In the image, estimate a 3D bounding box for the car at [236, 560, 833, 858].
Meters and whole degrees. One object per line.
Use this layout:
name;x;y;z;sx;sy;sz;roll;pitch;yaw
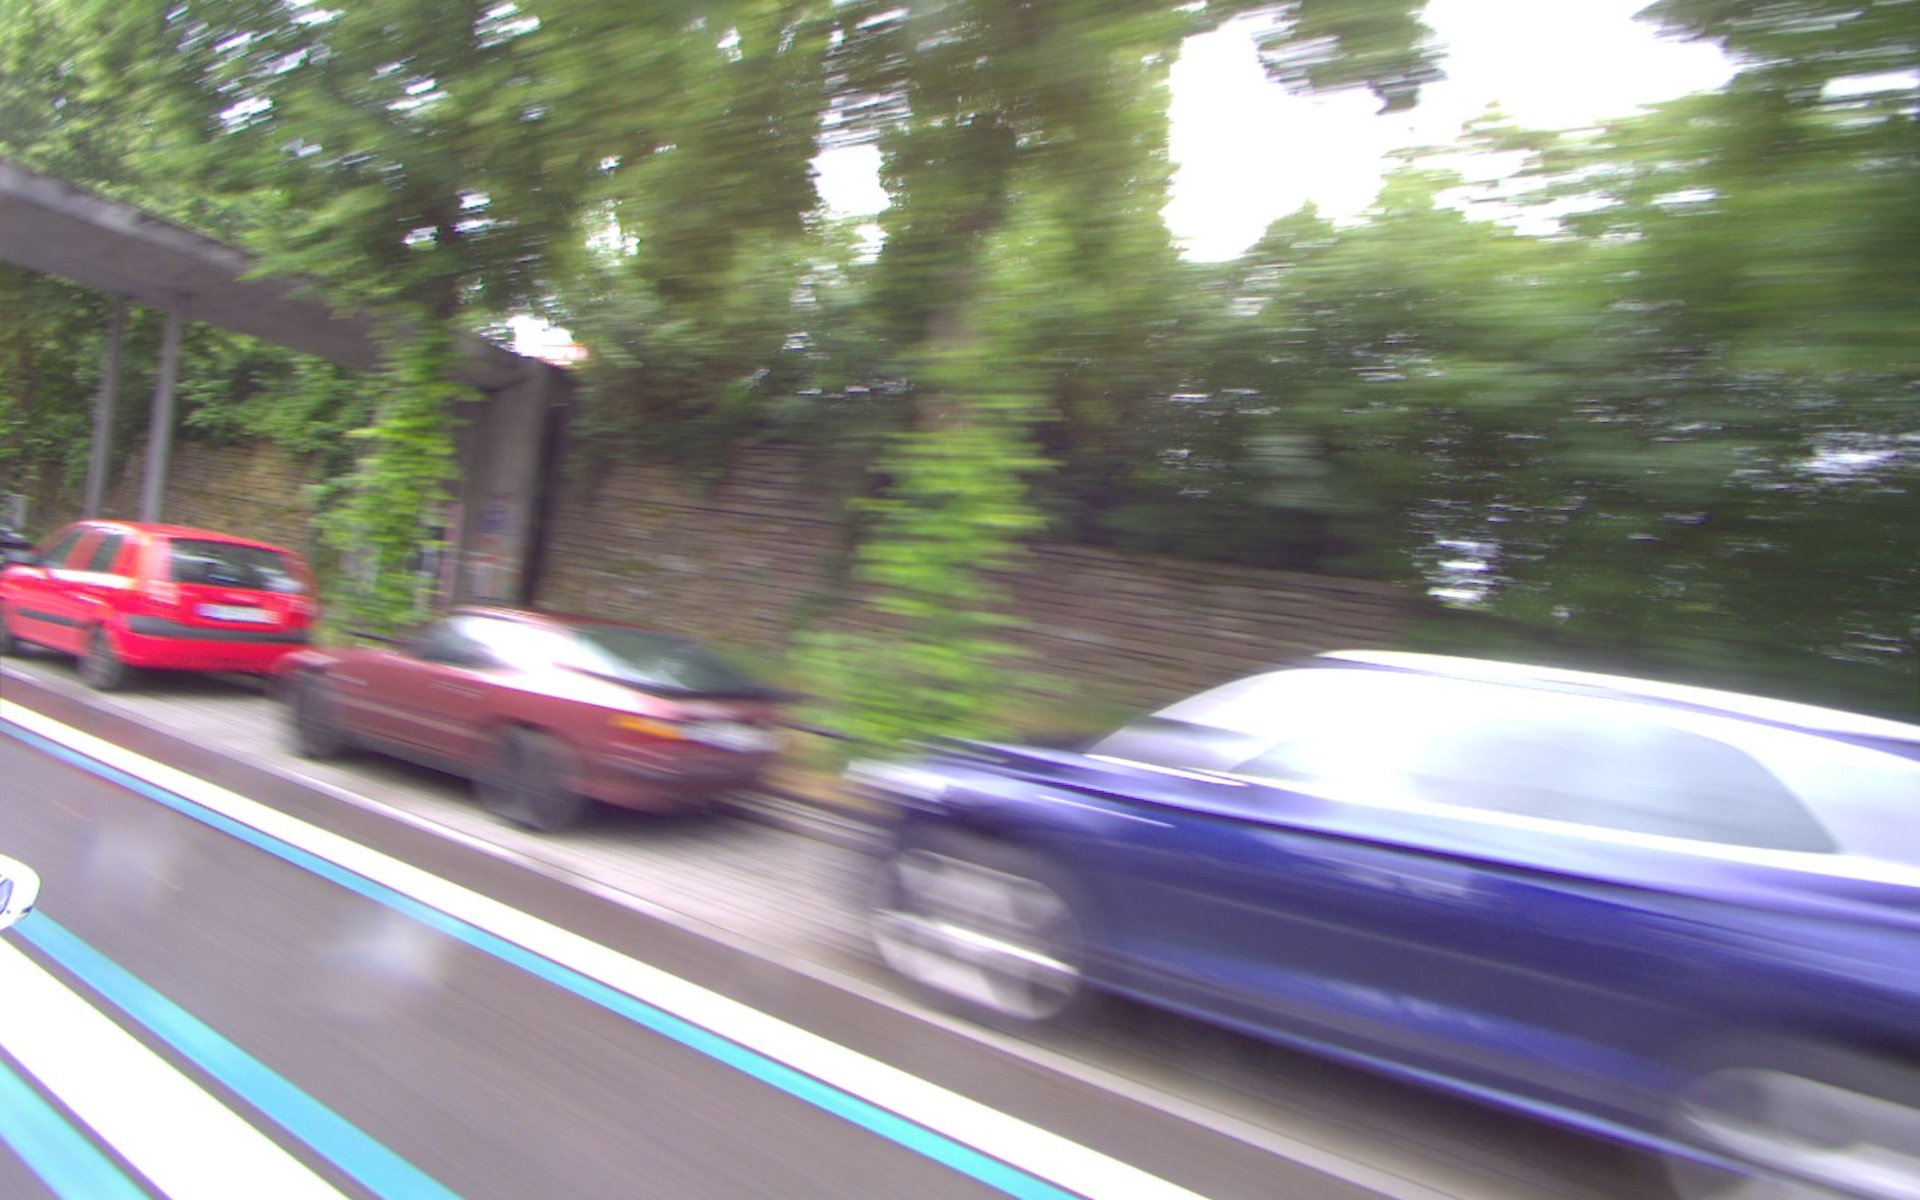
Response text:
car;-3.097;0.619;7.108;4.112;1.204;1.629;8;-1;30

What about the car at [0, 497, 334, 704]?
car;-8.003;-0.034;9.896;3.564;1.484;1.562;8;-1;31

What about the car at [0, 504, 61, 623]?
car;-13.767;-0.661;13.125;4.376;1.409;1.676;5;-2;30

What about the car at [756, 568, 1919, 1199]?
car;1.672;1.005;4.178;4.561;1.578;1.999;8;-1;28
